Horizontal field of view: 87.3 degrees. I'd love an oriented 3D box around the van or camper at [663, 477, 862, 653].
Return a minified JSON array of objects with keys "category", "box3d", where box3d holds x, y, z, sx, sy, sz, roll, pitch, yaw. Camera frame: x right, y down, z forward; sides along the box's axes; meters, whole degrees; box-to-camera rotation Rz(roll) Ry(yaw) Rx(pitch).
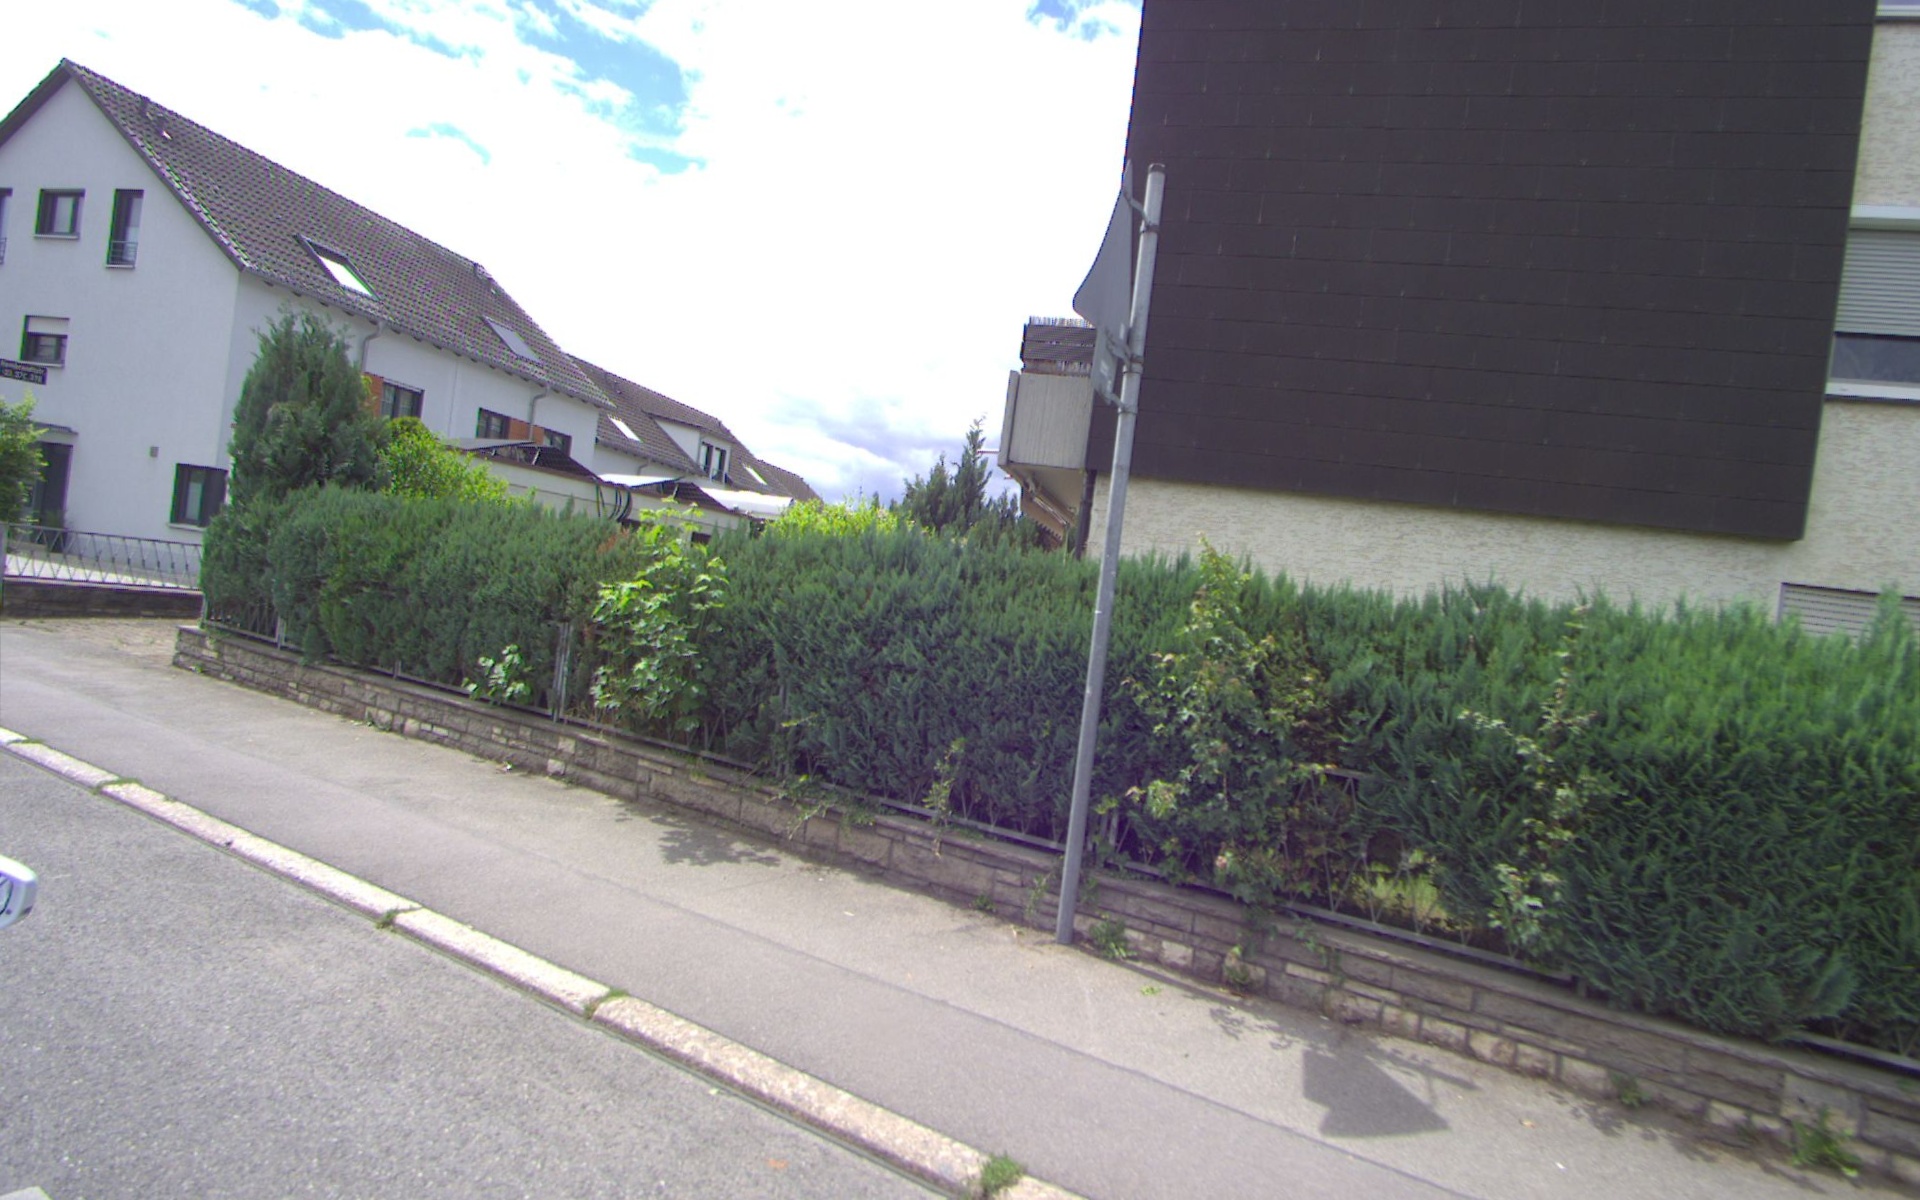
[{"category":"van or camper","box3d":[-4.511,-0.510,25.188,2.373,3.339,8.695,8,-2,4]}]
